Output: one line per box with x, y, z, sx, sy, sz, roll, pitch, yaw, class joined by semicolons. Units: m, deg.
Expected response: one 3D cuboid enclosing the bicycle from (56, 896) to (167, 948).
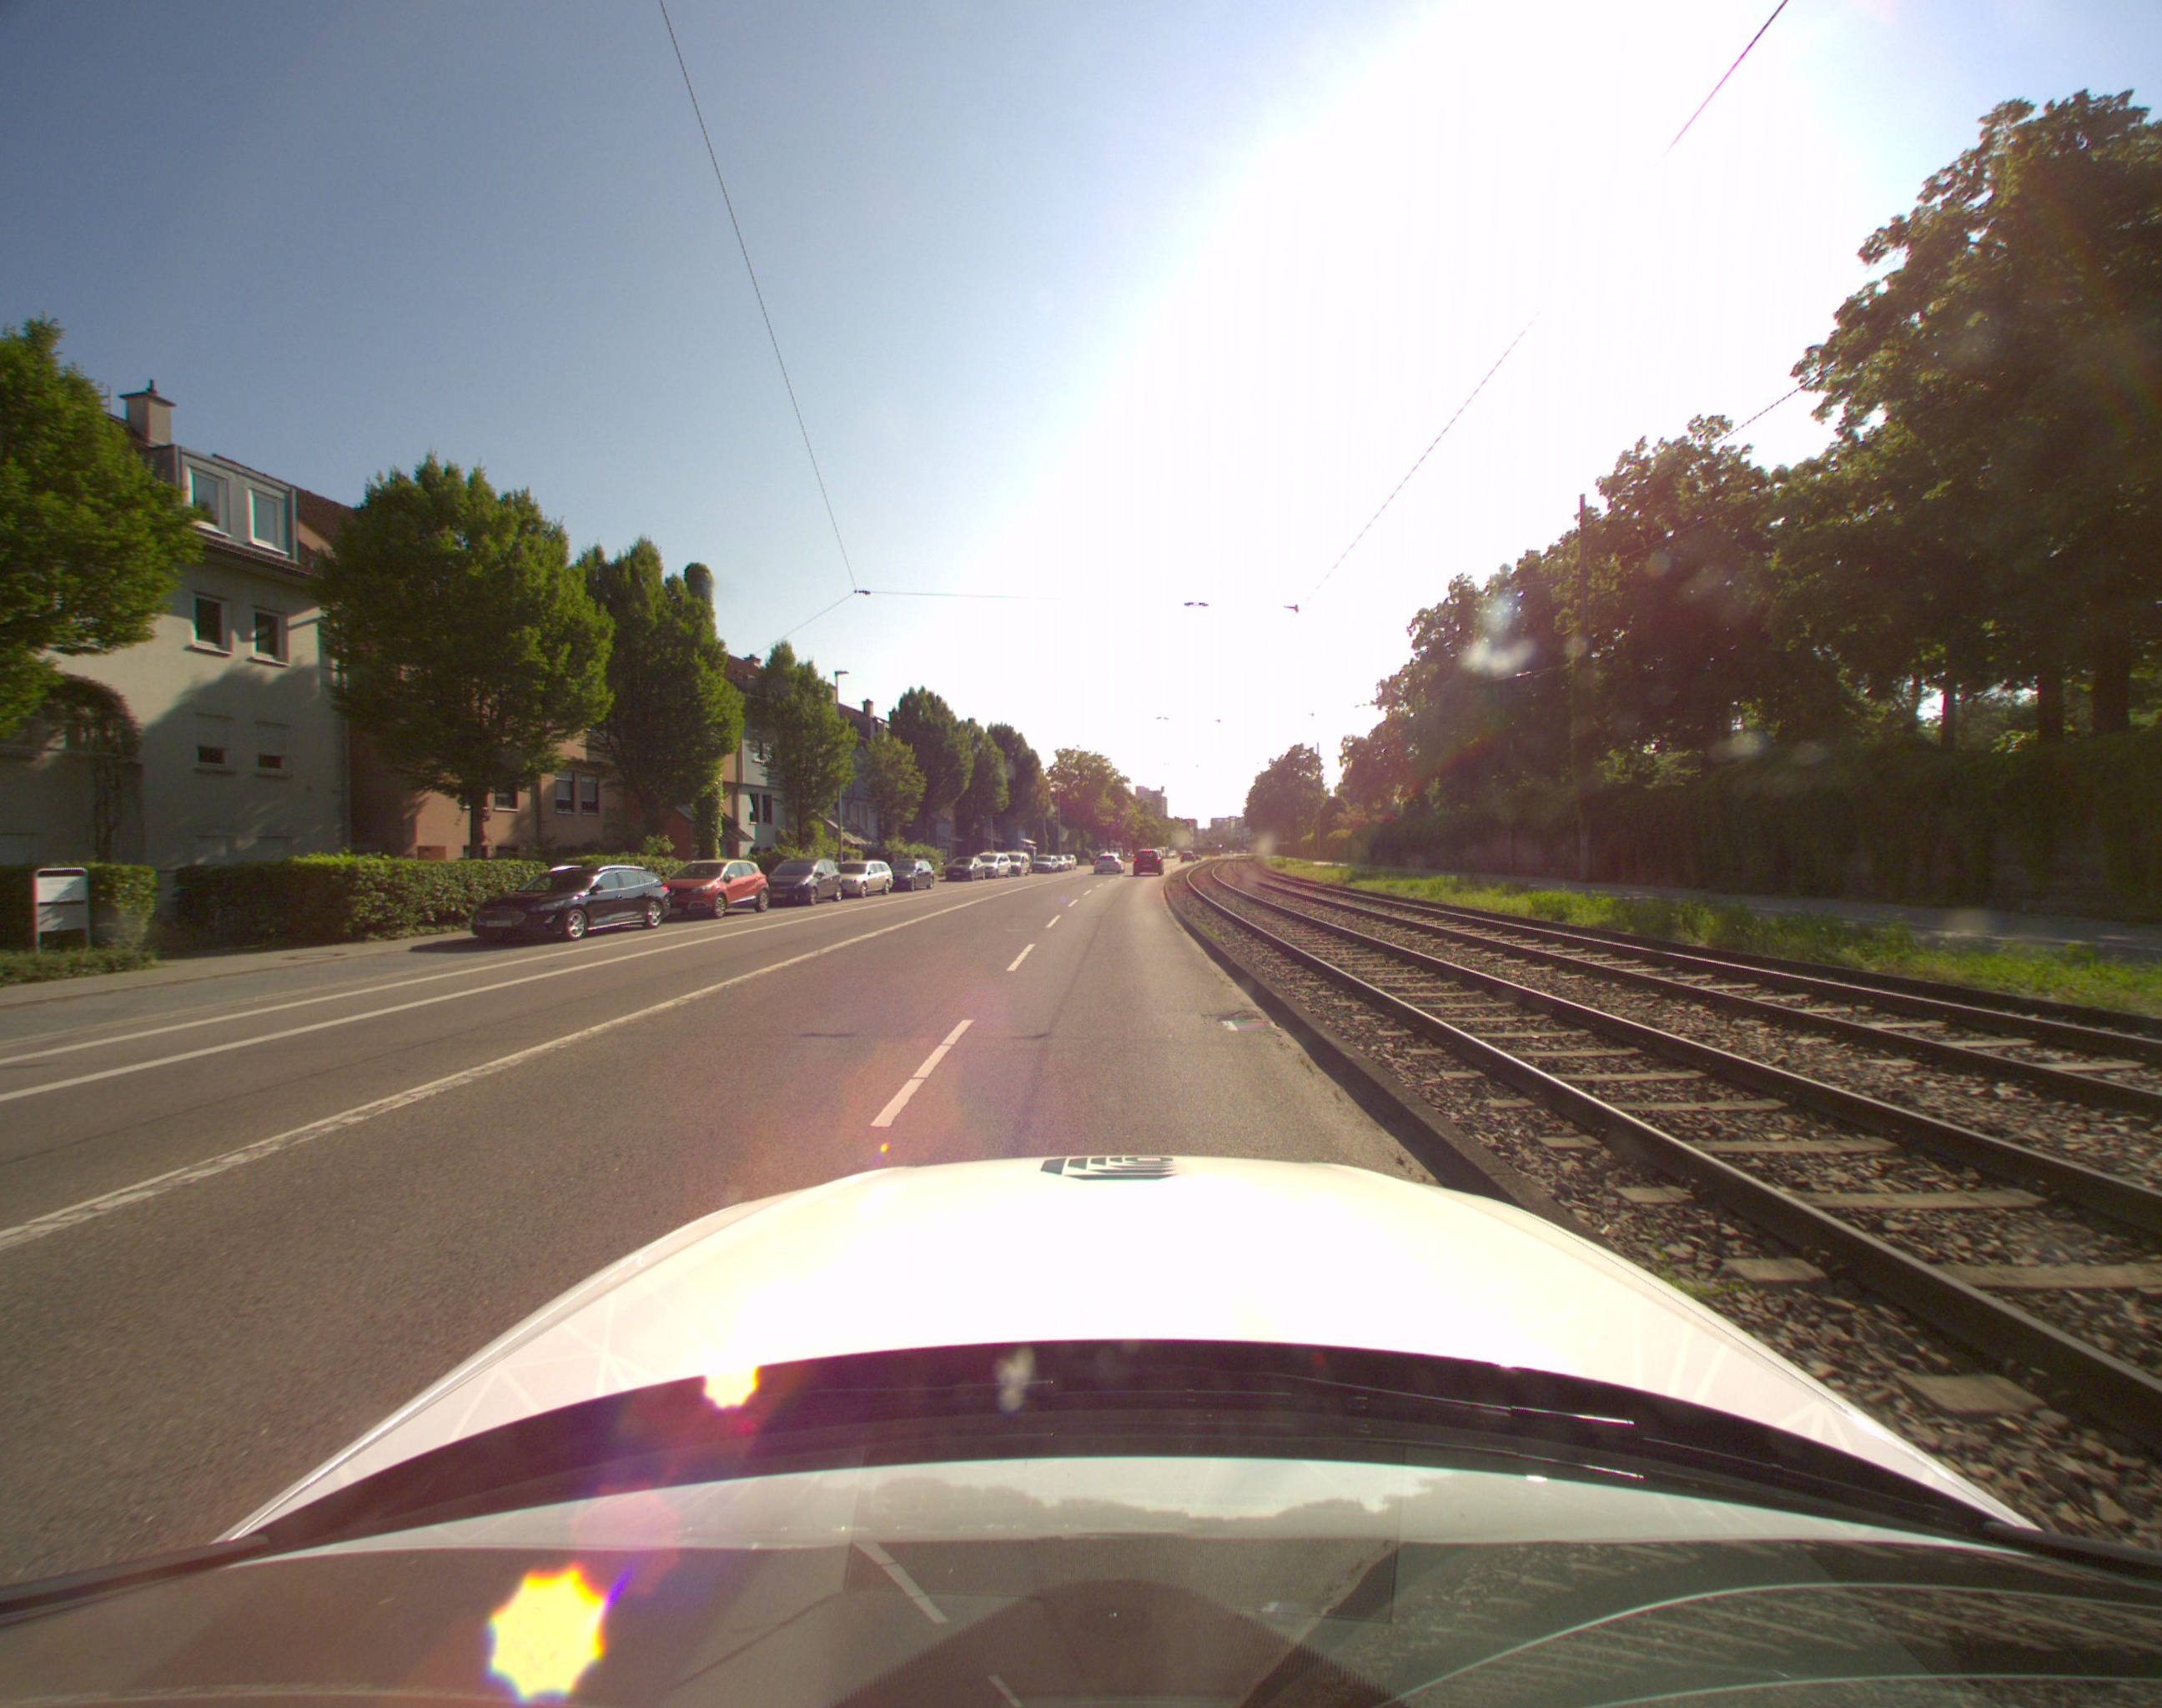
-19.337;1.345;16.250;1.672;0.977;0.644;-1;0;9;bicycle

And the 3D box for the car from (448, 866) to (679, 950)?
-10.654;1.025;17.279;1.645;1.424;4.717;-1;0;3;car

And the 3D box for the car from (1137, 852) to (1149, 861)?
11.577;0.421;151.864;1.720;1.658;4.014;-2;0;12;car

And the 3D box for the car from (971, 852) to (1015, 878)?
-6.072;0.726;56.530;1.658;1.701;4.838;1;0;11;car

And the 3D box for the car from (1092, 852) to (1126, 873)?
1.954;0.586;56.358;1.854;1.348;4.010;-1;0;9;car

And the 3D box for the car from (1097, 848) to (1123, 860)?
6.316;-0.078;176.335;5.341;2.423;2.094;-2;0;10;car

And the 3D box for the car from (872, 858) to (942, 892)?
-8.437;0.978;39.925;1.700;1.472;4.921;1;0;8;car

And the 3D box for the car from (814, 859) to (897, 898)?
-9.304;0.977;34.090;1.704;1.471;4.851;1;-1;5;car

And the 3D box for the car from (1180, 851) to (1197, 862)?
13.978;0.295;105.545;1.799;1.449;4.013;0;0;12;car

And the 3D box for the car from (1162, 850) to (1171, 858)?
21.039;0.022;199.414;1.720;1.694;4.014;-2;0;12;car

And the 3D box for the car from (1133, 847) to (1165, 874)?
4.358;0.389;52.092;1.801;1.645;4.009;0;0;8;car

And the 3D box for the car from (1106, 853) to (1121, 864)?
4.656;0.635;114.977;1.591;1.550;3.905;0;0;10;car

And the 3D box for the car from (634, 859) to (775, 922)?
-10.334;0.947;22.718;1.755;1.574;4.166;-1;-1;4;car

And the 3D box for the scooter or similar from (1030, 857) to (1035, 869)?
-4.755;0.876;79.913;0.292;1.153;1.045;-1;0;6;scooter or similar

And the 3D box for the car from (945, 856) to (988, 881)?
-7.144;0.887;51.231;1.607;1.466;4.068;0;0;8;car

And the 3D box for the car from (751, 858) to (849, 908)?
-9.733;0.952;28.614;1.755;1.574;4.301;1;0;2;car

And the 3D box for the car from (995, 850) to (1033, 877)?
-5.128;0.699;62.702;1.752;1.845;4.592;3;1;9;car

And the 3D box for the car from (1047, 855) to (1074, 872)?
-1.935;0.865;77.642;1.739;1.510;4.766;3;1;8;car

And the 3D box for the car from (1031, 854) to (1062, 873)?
-3.038;0.810;72.602;1.752;1.539;3.993;3;1;11;car

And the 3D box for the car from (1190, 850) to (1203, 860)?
17.812;0.186;125.461;1.799;1.449;4.014;0;0;12;car
